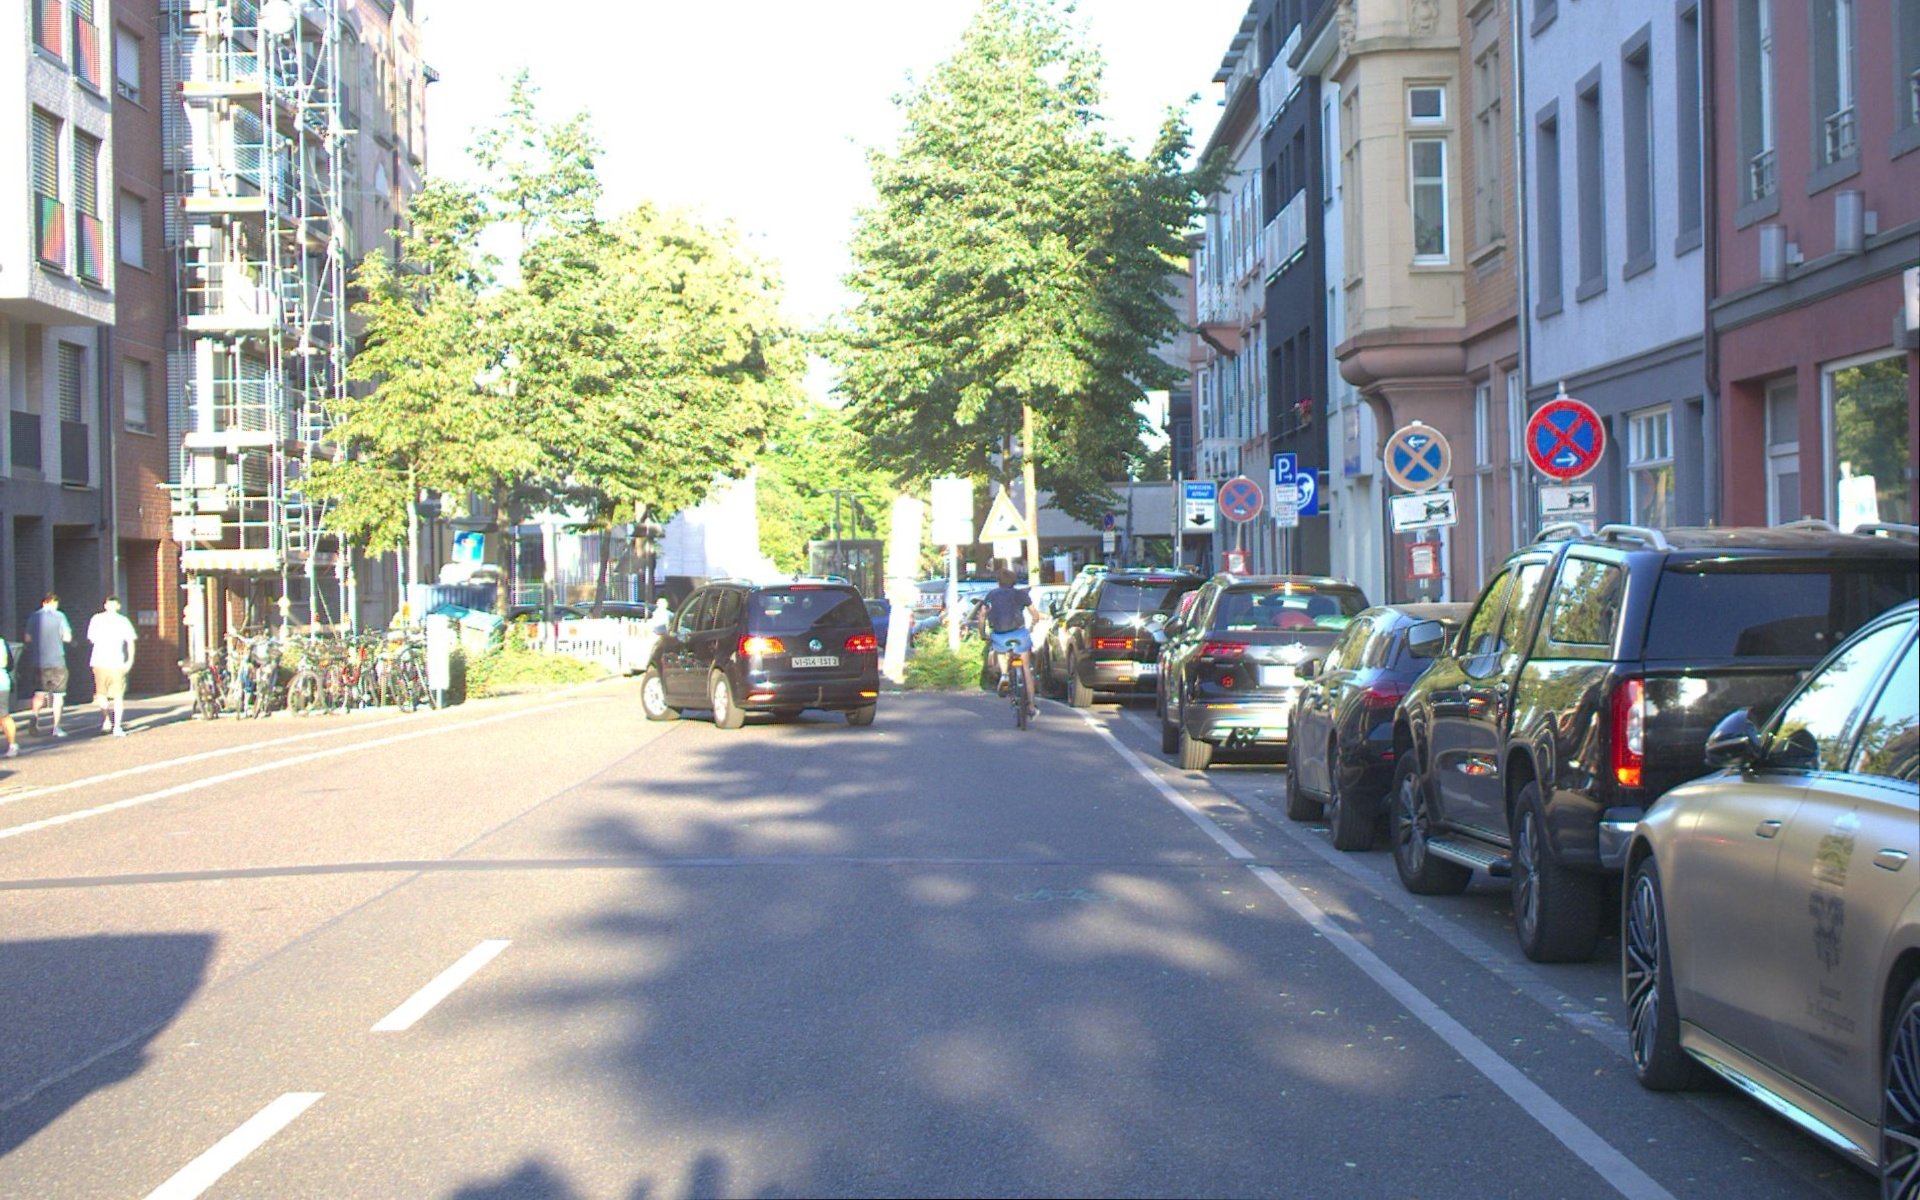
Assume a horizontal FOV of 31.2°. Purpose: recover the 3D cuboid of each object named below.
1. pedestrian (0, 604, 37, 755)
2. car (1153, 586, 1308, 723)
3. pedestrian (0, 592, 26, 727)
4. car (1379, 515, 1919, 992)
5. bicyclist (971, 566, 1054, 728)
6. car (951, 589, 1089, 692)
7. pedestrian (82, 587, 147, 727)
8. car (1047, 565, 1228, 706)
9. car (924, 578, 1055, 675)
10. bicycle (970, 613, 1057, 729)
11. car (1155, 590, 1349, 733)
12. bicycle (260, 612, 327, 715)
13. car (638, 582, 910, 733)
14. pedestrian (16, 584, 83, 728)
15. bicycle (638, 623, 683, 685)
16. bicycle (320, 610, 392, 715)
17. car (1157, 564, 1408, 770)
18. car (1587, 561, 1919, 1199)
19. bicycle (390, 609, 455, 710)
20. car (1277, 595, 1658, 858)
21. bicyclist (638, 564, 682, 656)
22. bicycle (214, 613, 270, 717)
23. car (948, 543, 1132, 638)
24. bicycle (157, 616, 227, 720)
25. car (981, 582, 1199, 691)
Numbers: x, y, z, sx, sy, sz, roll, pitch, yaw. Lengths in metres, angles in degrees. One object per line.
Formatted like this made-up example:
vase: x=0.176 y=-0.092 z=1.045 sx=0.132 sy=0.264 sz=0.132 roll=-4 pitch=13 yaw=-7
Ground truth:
pedestrian: x=-10.564 y=0.858 z=37.587 sx=0.716 sy=1.636 sz=0.952 roll=0 pitch=0 yaw=-3
car: x=3.020 y=0.597 z=38.883 sx=1.587 sy=1.478 sz=3.266 roll=0 pitch=0 yaw=2
pedestrian: x=-11.963 y=0.724 z=42.205 sx=0.717 sy=1.636 sz=0.855 roll=0 pitch=0 yaw=4
car: x=3.146 y=0.576 z=15.156 sx=1.883 sy=1.748 sz=5.059 roll=0 pitch=0 yaw=-1
bicyclist: x=0.558 y=0.501 z=37.010 sx=0.780 sy=1.690 sz=1.007 roll=-2 pitch=0 yaw=-2
car: x=0.970 y=0.662 z=58.043 sx=1.993 sy=1.662 sz=4.510 roll=0 pitch=0 yaw=-3
pedestrian: x=-10.526 y=0.704 z=42.825 sx=0.716 sy=1.734 sz=0.738 roll=0 pitch=0 yaw=-8
car: x=2.192 y=0.441 z=43.521 sx=1.824 sy=1.689 sz=4.369 roll=0 pitch=0 yaw=-3
car: x=0.575 y=0.541 z=71.169 sx=2.265 sy=1.760 sz=4.510 roll=5 pitch=-1 yaw=-3
bicycle: x=0.566 y=0.750 z=37.130 sx=0.780 sy=1.200 sz=2.021 roll=-2 pitch=0 yaw=-3
car: x=2.914 y=0.601 z=34.936 sx=1.666 sy=1.374 sz=3.802 roll=0 pitch=0 yaw=0
bicycle: x=-9.238 y=0.859 z=47.726 sx=0.780 sy=1.368 sz=3.143 roll=0 pitch=0 yaw=-9
car: x=-2.177 y=0.623 z=38.871 sx=1.993 sy=1.596 sz=4.510 roll=0 pitch=0 yaw=-18
pedestrian: x=-11.262 y=0.688 z=42.519 sx=0.716 sy=1.761 sz=0.694 roll=0 pitch=0 yaw=-8
bicycle: x=-6.005 y=1.072 z=69.068 sx=0.780 sy=1.200 sz=2.021 roll=-2 pitch=0 yaw=-3
bicycle: x=-8.389 y=0.845 z=47.863 sx=0.892 sy=1.391 sz=3.167 roll=-1 pitch=0 yaw=-9
car: x=2.738 y=0.553 z=29.972 sx=1.812 sy=1.662 sz=4.205 roll=0 pitch=0 yaw=0
car: x=2.842 y=0.693 z=8.474 sx=1.812 sy=1.522 sz=4.993 roll=0 pitch=0 yaw=2
bicycle: x=-7.500 y=0.805 z=47.997 sx=0.844 sy=1.346 sz=3.188 roll=-1 pitch=0 yaw=-9
car: x=3.049 y=0.720 z=21.479 sx=1.762 sy=1.478 sz=4.307 roll=0 pitch=0 yaw=0
bicyclist: x=-6.040 y=0.200 z=69.174 sx=0.780 sy=1.823 sz=1.007 roll=-2 pitch=0 yaw=-2
bicycle: x=-9.930 y=0.873 z=47.608 sx=0.584 sy=1.391 sz=3.162 roll=0 pitch=0 yaw=-9
car: x=1.808 y=-0.224 z=76.661 sx=3.987 sy=2.007 sz=2.000 roll=-1 pitch=0 yaw=4
bicycle: x=-10.599 y=0.912 z=47.502 sx=0.721 sy=1.391 sz=3.154 roll=0 pitch=0 yaw=-9
car: x=1.842 y=0.517 z=49.117 sx=2.968 sy=1.531 sz=1.433 roll=0 pitch=0 yaw=-4
